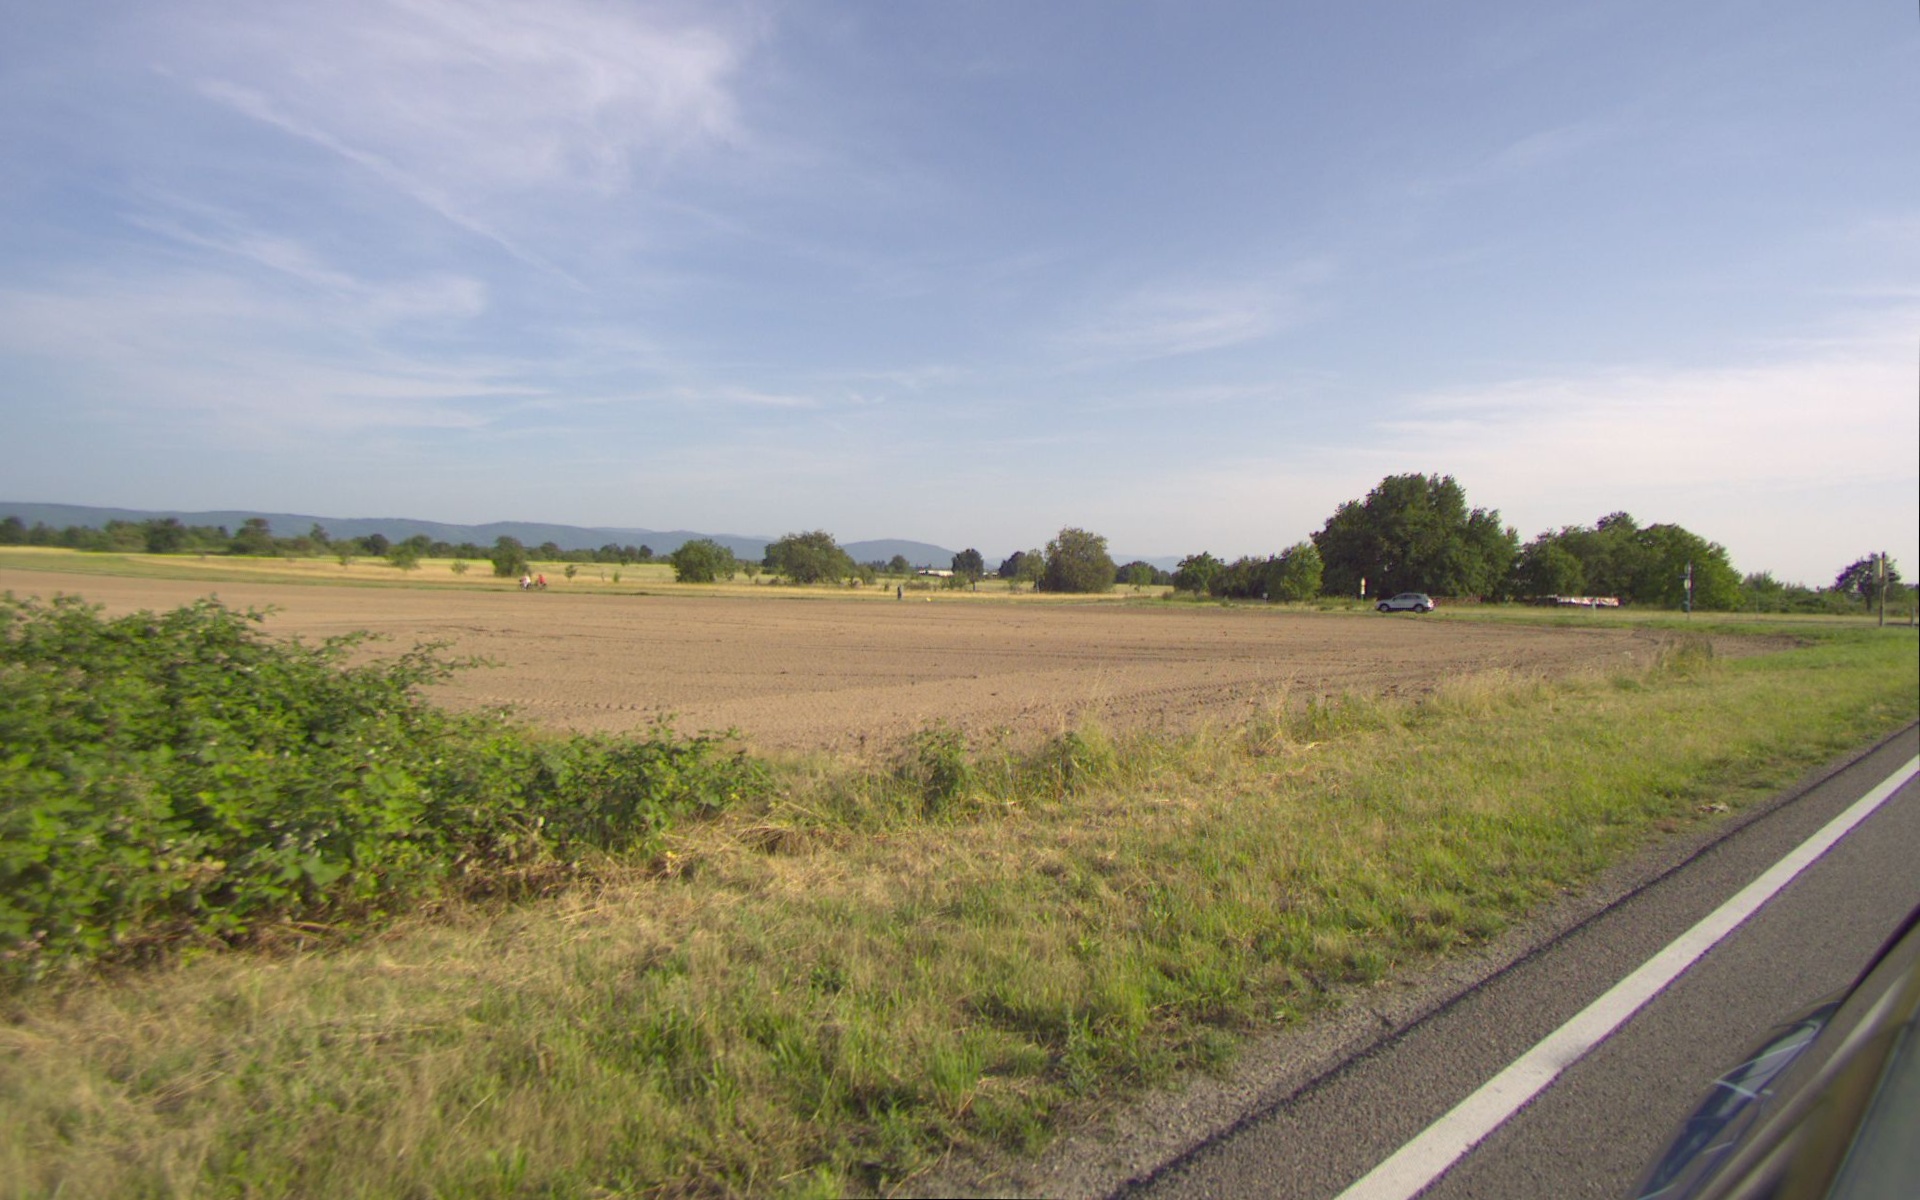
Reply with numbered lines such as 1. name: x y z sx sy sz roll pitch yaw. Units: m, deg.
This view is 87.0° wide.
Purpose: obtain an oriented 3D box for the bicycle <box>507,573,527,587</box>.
1. bicycle: -46.838 -2.112 106.966 1.941 1.550 0.503 0 0 3

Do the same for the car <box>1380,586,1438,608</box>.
1. car: 36.438 -0.252 82.157 3.974 1.672 1.975 0 0 35

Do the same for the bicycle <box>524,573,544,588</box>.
1. bicycle: -45.476 -2.110 108.040 1.941 1.550 0.503 0 0 3

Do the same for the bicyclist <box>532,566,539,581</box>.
1. bicyclist: -45.341 -2.859 108.035 0.540 1.617 0.487 0 0 2
